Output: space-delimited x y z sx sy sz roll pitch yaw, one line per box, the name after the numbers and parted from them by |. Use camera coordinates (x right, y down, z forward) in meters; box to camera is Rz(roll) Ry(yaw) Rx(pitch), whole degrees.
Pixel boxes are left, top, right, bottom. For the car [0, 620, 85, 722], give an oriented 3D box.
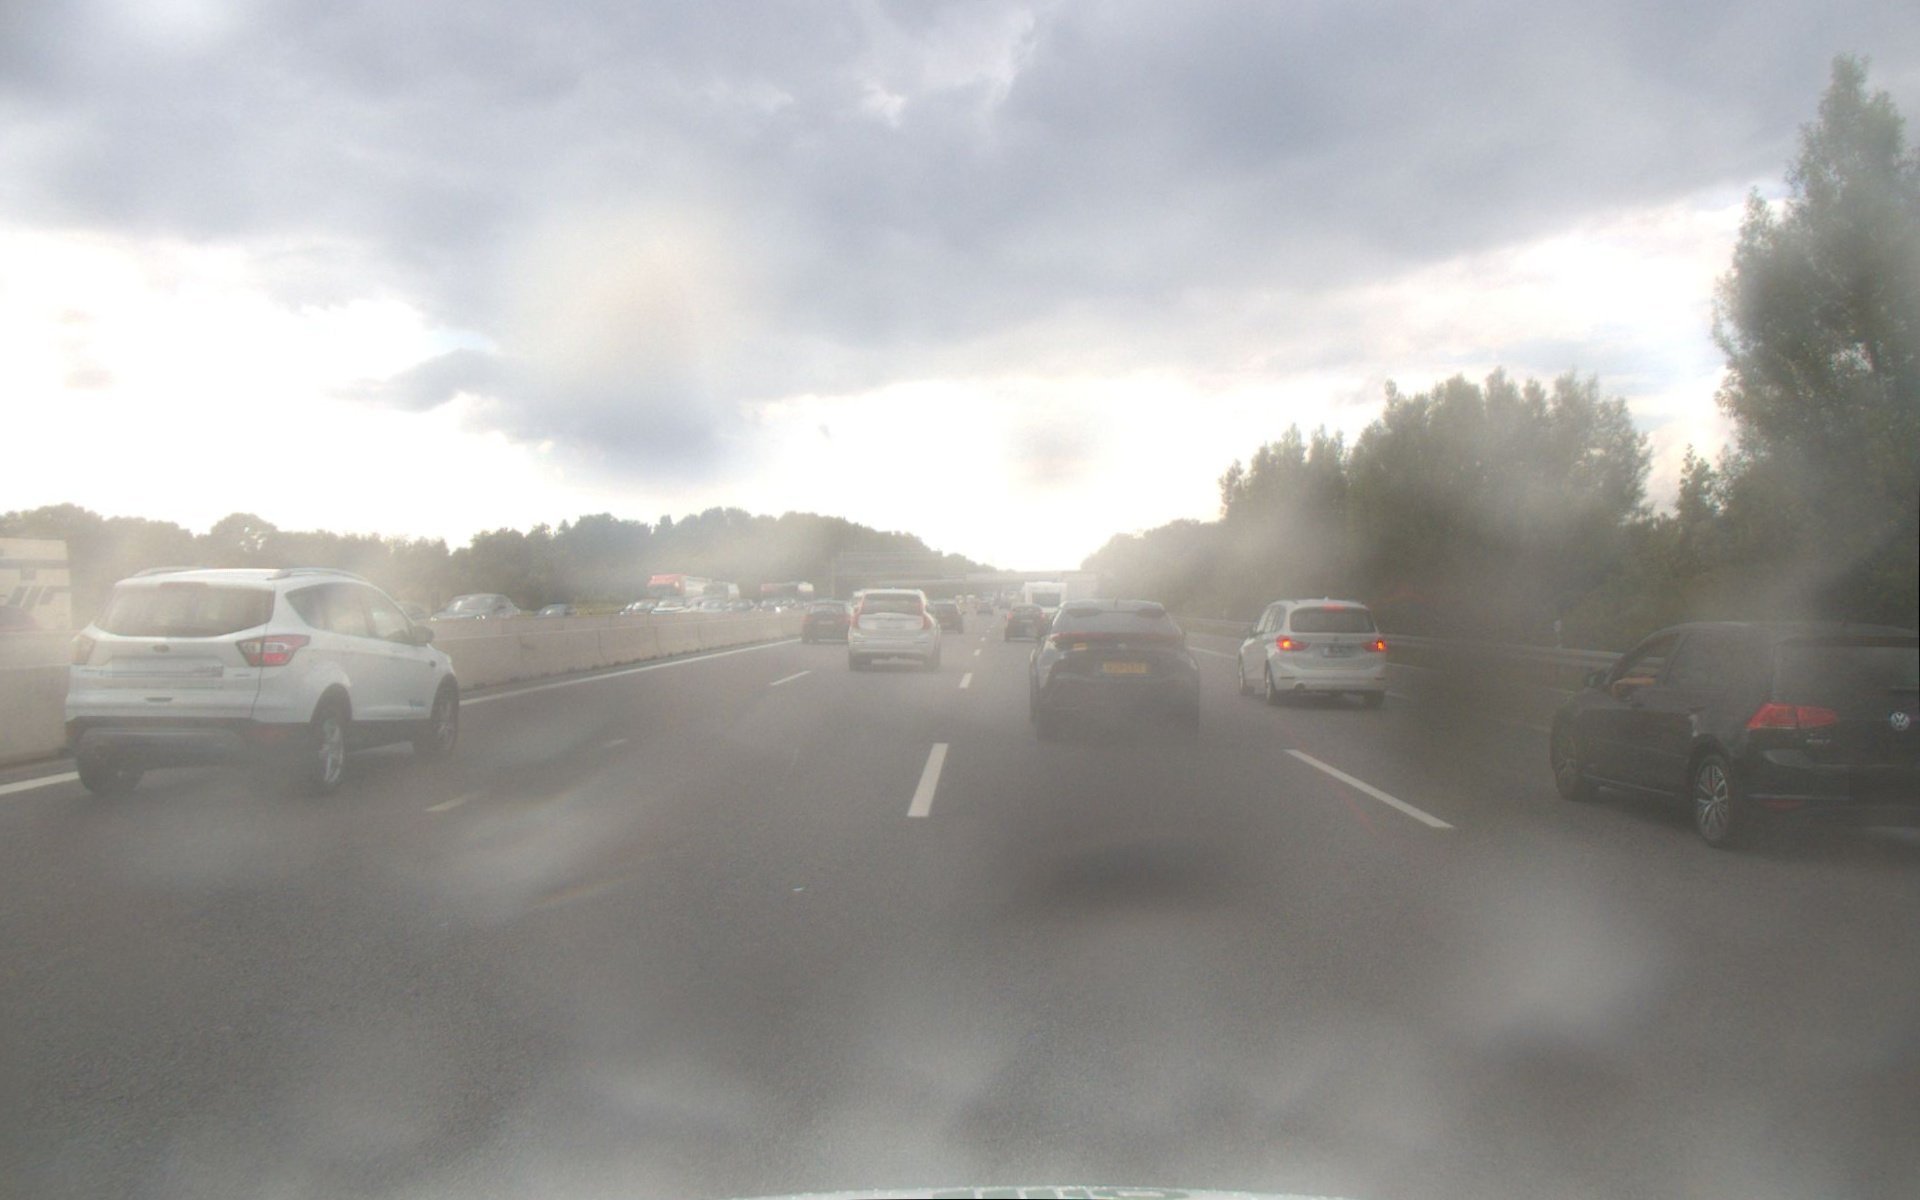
-18.860 1.336 31.380 1.952 1.860 4.639 0 0 1 | car

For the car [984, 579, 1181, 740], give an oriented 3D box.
1.295 0.616 19.232 1.745 1.641 4.595 0 0 -3 | car

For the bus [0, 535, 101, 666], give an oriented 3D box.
-26.267 -0.004 42.593 2.772 3.391 9.966 0 0 2 | bus

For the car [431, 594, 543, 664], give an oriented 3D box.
-14.714 0.870 51.751 1.952 2.049 5.182 0 0 0 | car

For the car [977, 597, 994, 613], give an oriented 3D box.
2.773 0.577 182.817 1.842 1.715 4.000 0 0 0 | car

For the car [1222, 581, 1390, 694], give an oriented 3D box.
5.430 0.550 26.524 1.773 1.627 4.696 0 0 1 | car

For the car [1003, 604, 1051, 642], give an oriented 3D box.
2.636 0.876 65.437 1.846 1.431 4.283 0 0 2 | car

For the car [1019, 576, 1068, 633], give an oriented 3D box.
4.488 0.237 90.197 2.514 2.946 7.535 0 0 2 | car

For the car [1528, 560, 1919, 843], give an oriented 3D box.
5.690 0.607 11.986 1.672 1.659 4.457 0 0 1 | car

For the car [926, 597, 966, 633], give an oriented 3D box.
-0.651 0.713 79.764 1.842 1.715 4.000 0 0 0 | car

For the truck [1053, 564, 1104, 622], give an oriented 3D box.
8.006 -0.456 112.581 3.068 3.774 9.849 0 0 2 | truck

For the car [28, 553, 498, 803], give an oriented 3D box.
-5.477 0.525 13.806 1.777 1.719 4.853 0 0 1 | car

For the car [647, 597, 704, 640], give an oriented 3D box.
-13.941 0.877 81.130 1.952 2.049 4.265 0 0 1 | car

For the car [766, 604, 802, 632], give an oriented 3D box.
-12.892 1.329 121.409 1.952 2.001 4.697 0 0 2 | car

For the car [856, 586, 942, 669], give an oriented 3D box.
-1.313 0.589 37.237 1.744 1.746 4.352 0 0 0 | car

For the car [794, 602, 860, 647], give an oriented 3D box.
-4.687 0.850 58.816 1.743 1.507 4.354 0 0 3 | car

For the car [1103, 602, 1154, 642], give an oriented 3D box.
6.602 0.853 65.200 1.758 1.503 4.039 0 0 2 | car
